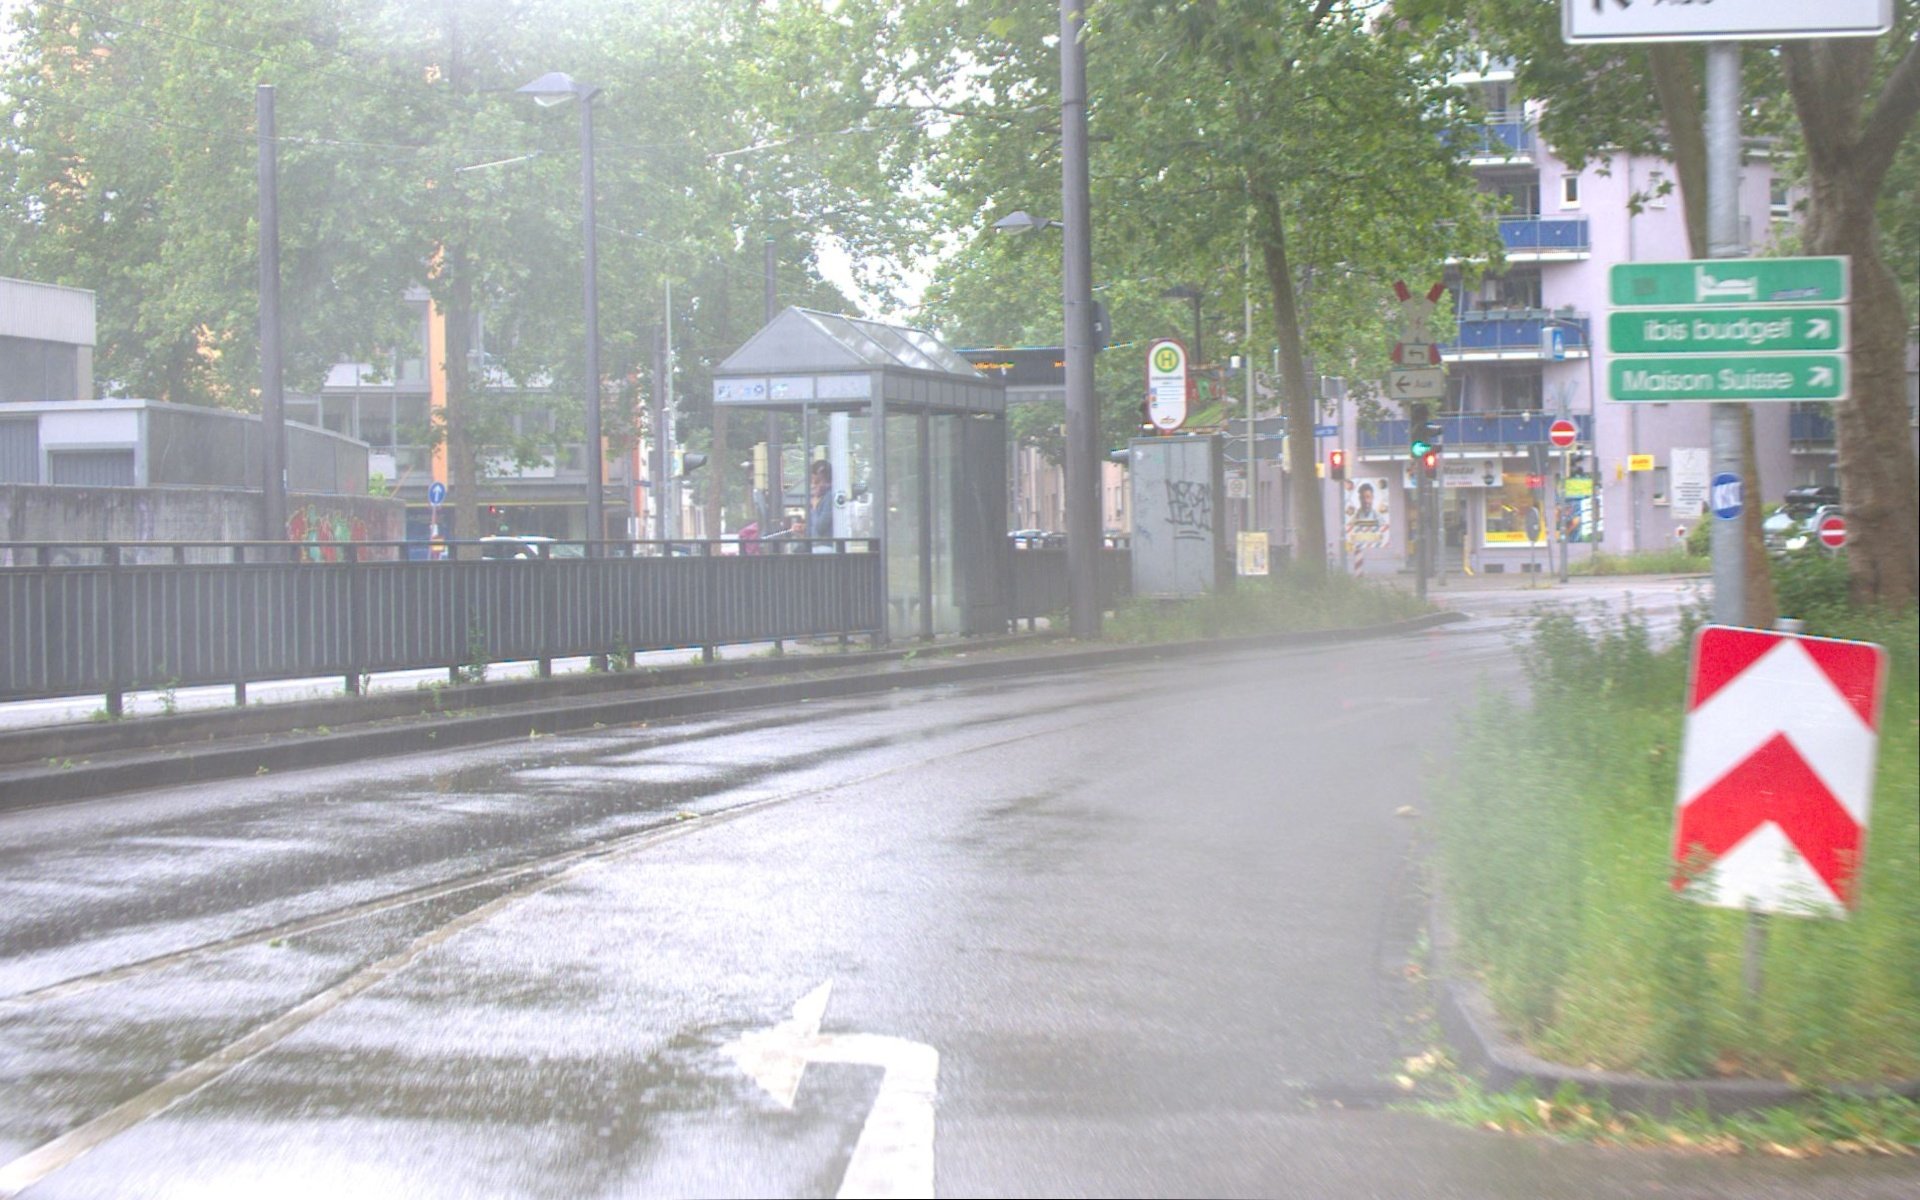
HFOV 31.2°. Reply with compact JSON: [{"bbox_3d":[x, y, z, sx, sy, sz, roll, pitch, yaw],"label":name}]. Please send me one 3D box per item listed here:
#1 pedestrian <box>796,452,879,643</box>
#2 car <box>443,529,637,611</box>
[{"bbox_3d":[-1.137,-0.484,31.839,0.581,1.725,0.568,-3,0,-16],"label":"pedestrian"},{"bbox_3d":[-9.351,-0.659,76.411,4.015,1.646,1.968,-2,1,39],"label":"car"}]
